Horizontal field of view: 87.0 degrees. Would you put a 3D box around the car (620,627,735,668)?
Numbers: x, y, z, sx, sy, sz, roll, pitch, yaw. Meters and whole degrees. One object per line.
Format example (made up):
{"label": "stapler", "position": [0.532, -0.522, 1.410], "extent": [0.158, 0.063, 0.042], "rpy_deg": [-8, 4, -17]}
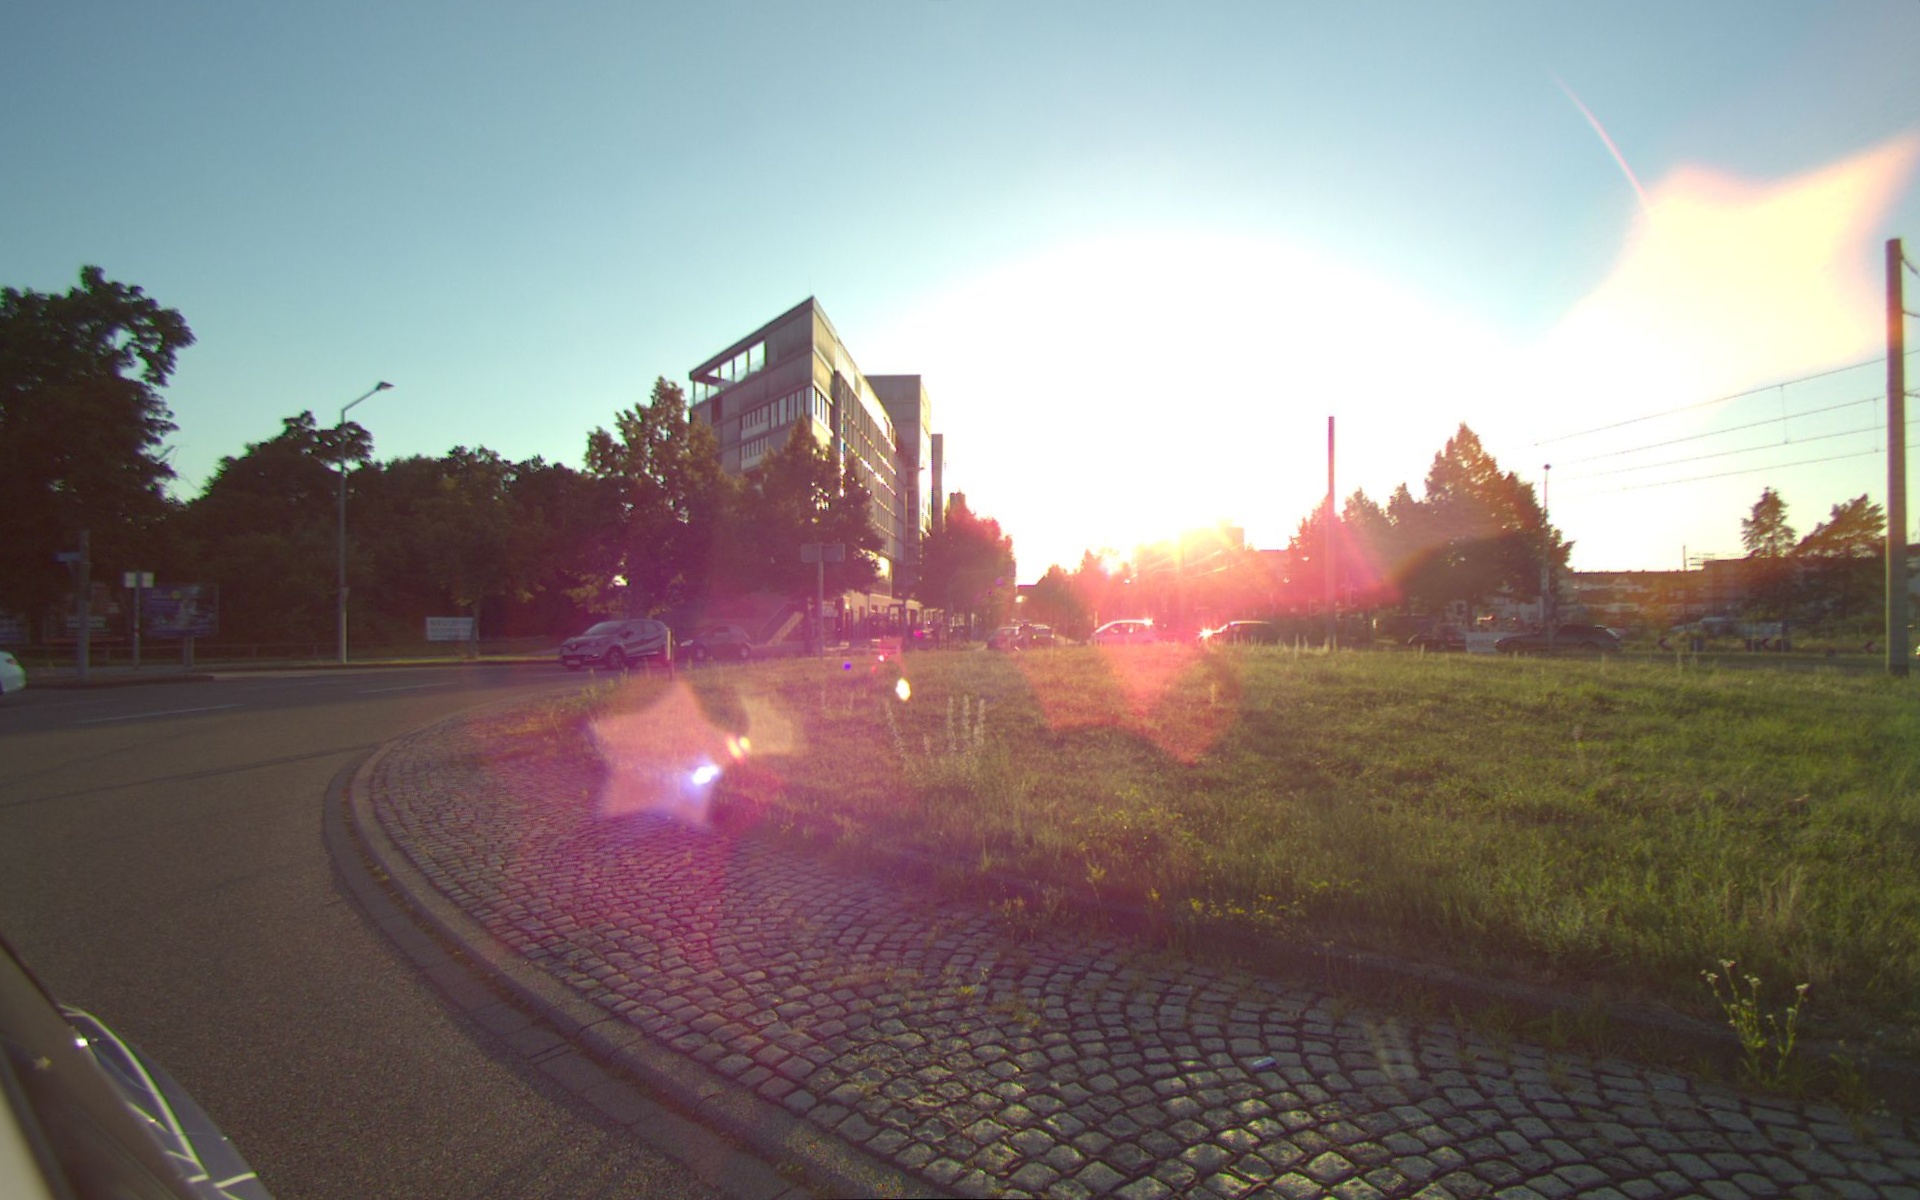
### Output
{"label": "car", "position": [-10.926, 1.796, 39.287], "extent": [3.940, 1.450, 1.747], "rpy_deg": [1, -2, -44]}

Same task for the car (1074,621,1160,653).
{"label": "car", "position": [7.328, 1.725, 47.431], "extent": [3.652, 1.476, 1.609], "rpy_deg": [0, -2, -8]}

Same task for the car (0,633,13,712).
{"label": "car", "position": [-18.748, 1.292, 16.605], "extent": [1.727, 1.441, 4.543], "rpy_deg": [-1, -1, 11]}

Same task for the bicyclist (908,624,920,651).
{"label": "bicyclist", "position": [-2.898, 2.369, 63.375], "extent": [0.674, 1.660, 0.685], "rpy_deg": [0, -2, -6]}

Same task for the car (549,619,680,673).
{"label": "car", "position": [-10.688, 1.385, 31.579], "extent": [1.734, 1.548, 3.970], "rpy_deg": [-1, -1, 22]}

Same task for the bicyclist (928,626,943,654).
{"label": "bicyclist", "position": [-1.551, 2.549, 64.339], "extent": [0.840, 1.769, 0.801], "rpy_deg": [-1, -2, 10]}

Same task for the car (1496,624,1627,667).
{"label": "car", "position": [25.538, 1.914, 43.076], "extent": [4.591, 1.761, 1.729], "rpy_deg": [-2, -2, 38]}

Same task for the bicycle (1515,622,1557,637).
{"label": "bicycle", "position": [34.432, 1.774, 60.528], "extent": [0.504, 0.852, 2.140], "rpy_deg": [1, -3, -37]}

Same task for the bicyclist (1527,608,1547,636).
{"label": "bicyclist", "position": [34.422, 1.318, 60.330], "extent": [0.684, 1.646, 0.800], "rpy_deg": [1, -3, -37]}

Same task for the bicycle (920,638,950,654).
{"label": "bicycle", "position": [-1.597, 2.959, 64.965], "extent": [1.843, 1.030, 0.436], "rpy_deg": [-1, -2, 11]}

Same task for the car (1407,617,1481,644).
{"label": "car", "position": [27.227, 1.711, 57.066], "extent": [1.724, 1.457, 4.141], "rpy_deg": [0, -2, -8]}

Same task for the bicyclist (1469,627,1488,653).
{"label": "bicyclist", "position": [32.090, 2.473, 62.631], "extent": [0.805, 1.653, 0.813], "rpy_deg": [-1, -2, 7]}

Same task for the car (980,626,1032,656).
{"label": "car", "position": [2.628, 2.265, 56.755], "extent": [1.765, 1.633, 3.972], "rpy_deg": [-1, -1, 21]}

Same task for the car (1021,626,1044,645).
{"label": "car", "position": [6.406, 3.097, 89.203], "extent": [1.756, 1.622, 3.990], "rpy_deg": [0, -1, 8]}

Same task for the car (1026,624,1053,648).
{"label": "car", "position": [5.921, 2.672, 75.048], "extent": [1.756, 1.715, 3.990], "rpy_deg": [0, -1, 8]}

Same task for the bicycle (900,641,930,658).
{"label": "bicycle", "position": [-2.825, 3.103, 63.156], "extent": [1.834, 1.030, 0.308], "rpy_deg": [0, -2, -6]}

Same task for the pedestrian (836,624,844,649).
{"label": "pedestrian", "position": [-9.855, 2.973, 83.218], "extent": [0.532, 2.029, 0.527], "rpy_deg": [-1, -2, 3]}

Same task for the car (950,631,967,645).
{"label": "car", "position": [-0.145, 4.340, 115.603], "extent": [1.779, 1.475, 3.996], "rpy_deg": [0, -2, 3]}

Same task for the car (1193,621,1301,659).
{"label": "car", "position": [13.515, 1.878, 47.817], "extent": [4.528, 1.761, 1.753], "rpy_deg": [0, -2, -4]}
